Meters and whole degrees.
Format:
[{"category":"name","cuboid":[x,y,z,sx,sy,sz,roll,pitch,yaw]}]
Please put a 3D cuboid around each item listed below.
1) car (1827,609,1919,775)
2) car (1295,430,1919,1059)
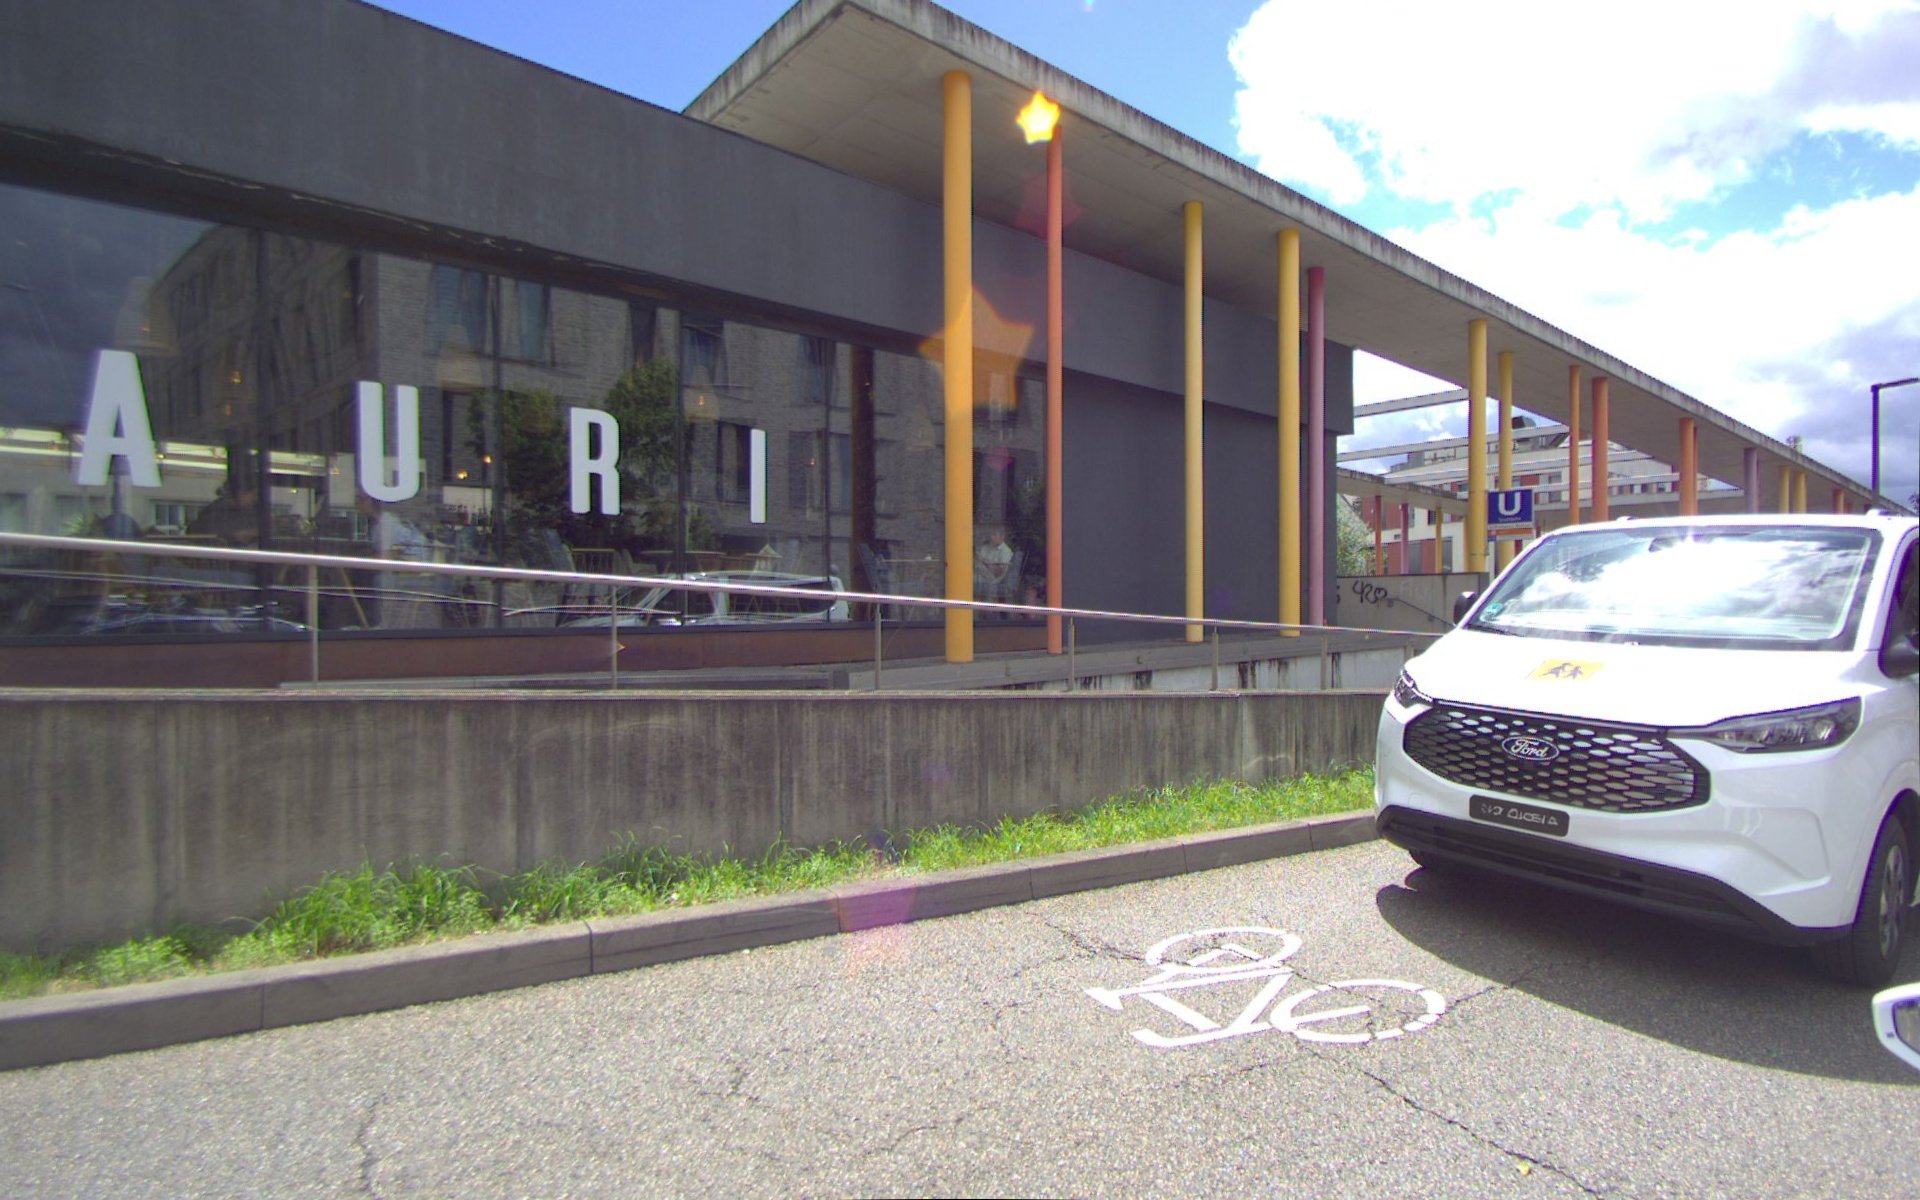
[{"category":"car","cuboid":[10.487,0.857,10.206,4.196,1.484,1.758,0,1,-38]},{"category":"car","cuboid":[4.393,0.466,5.607,5.340,2.041,1.980,1,2,-35]}]
